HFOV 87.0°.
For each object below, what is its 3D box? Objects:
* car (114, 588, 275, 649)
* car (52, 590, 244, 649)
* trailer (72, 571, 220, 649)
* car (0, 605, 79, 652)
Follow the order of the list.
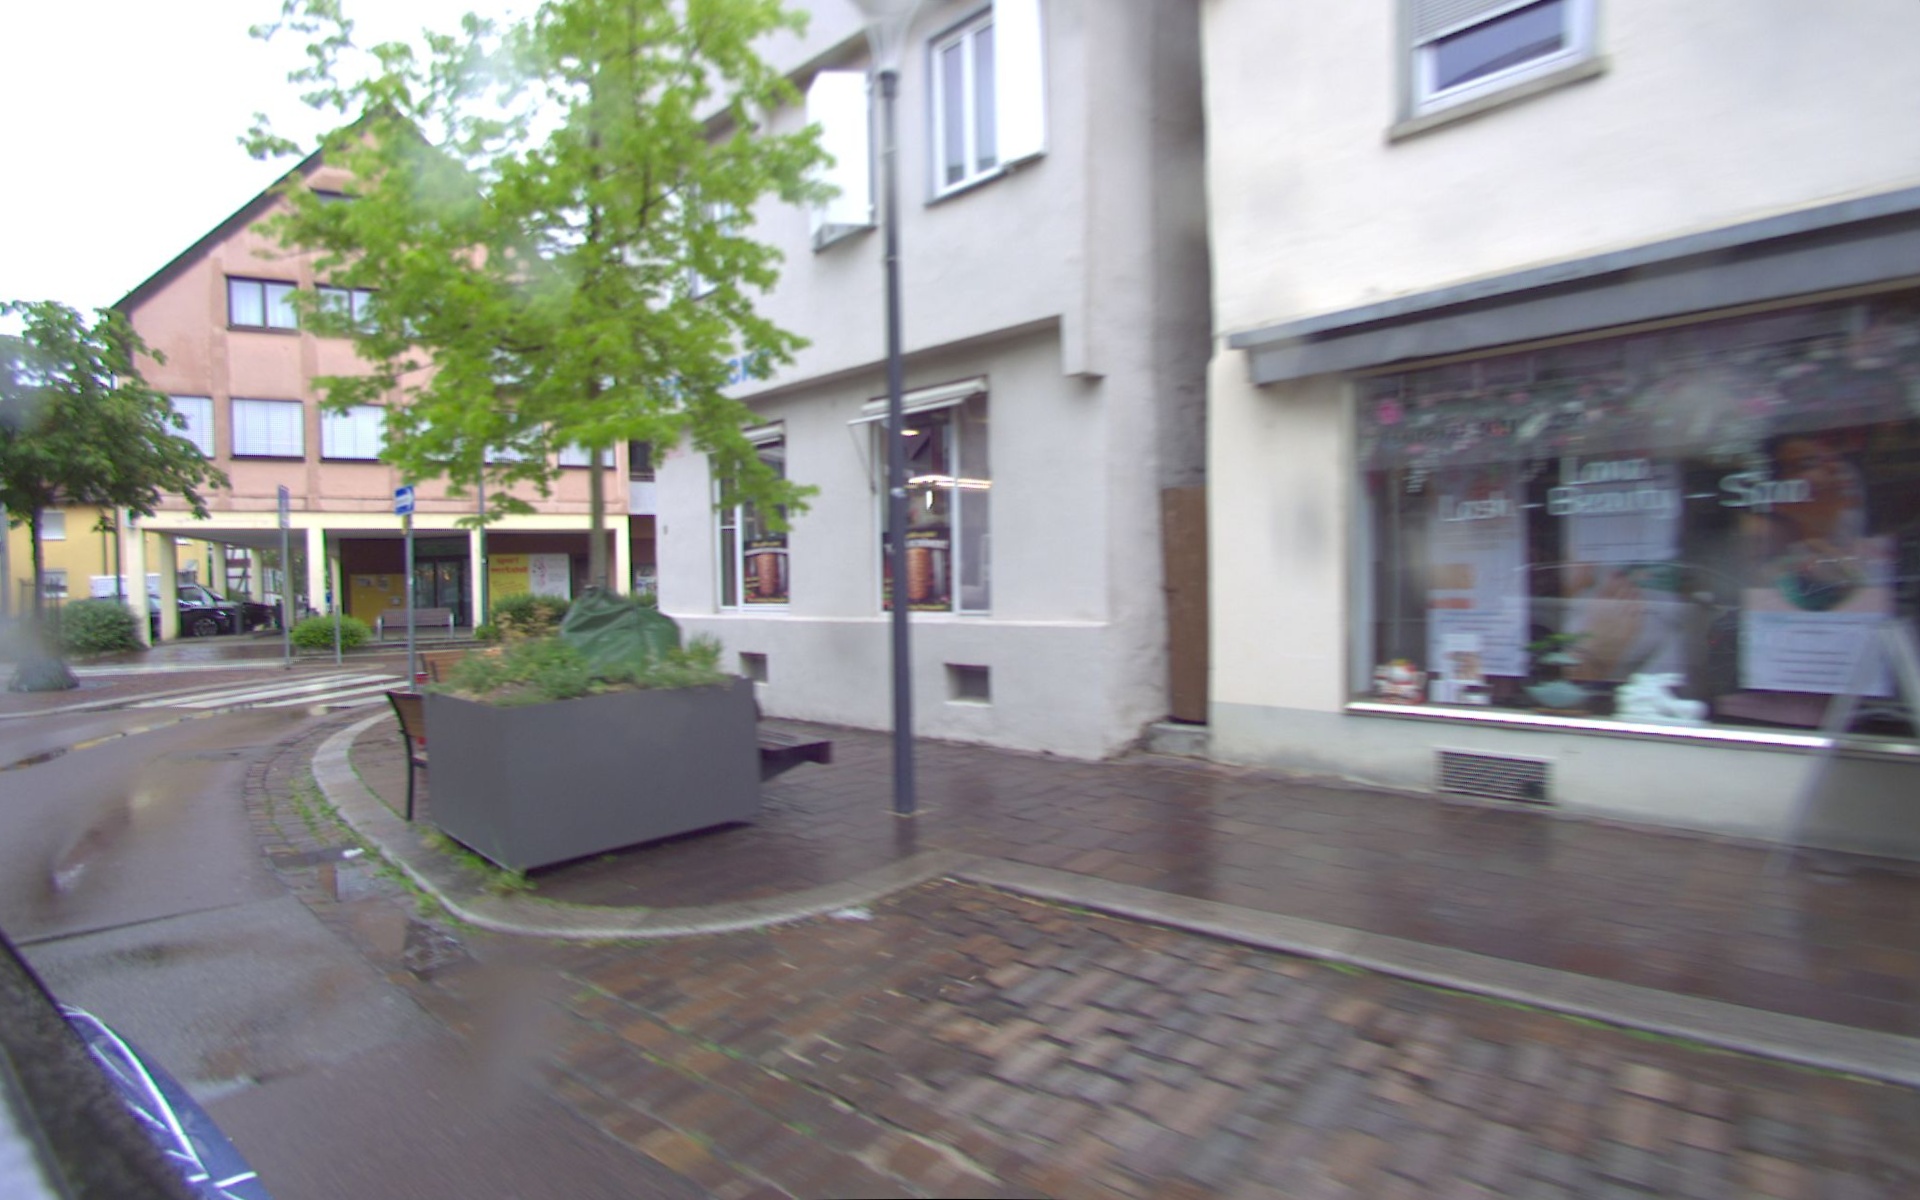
[{"bbox_3d":[-25.865,0.613,34.380,3.932,1.683,1.842,-5,1,-23],"label":"car"},{"bbox_3d":[-23.266,0.512,29.189,3.931,1.519,1.842,-1,2,-23],"label":"car"},{"bbox_3d":[-25.002,0.294,31.217,3.040,2.103,1.842,-5,1,-23],"label":"trailer"},{"bbox_3d":[-35.394,1.035,37.656,1.967,1.519,4.556,-1,2,-12],"label":"car"}]
